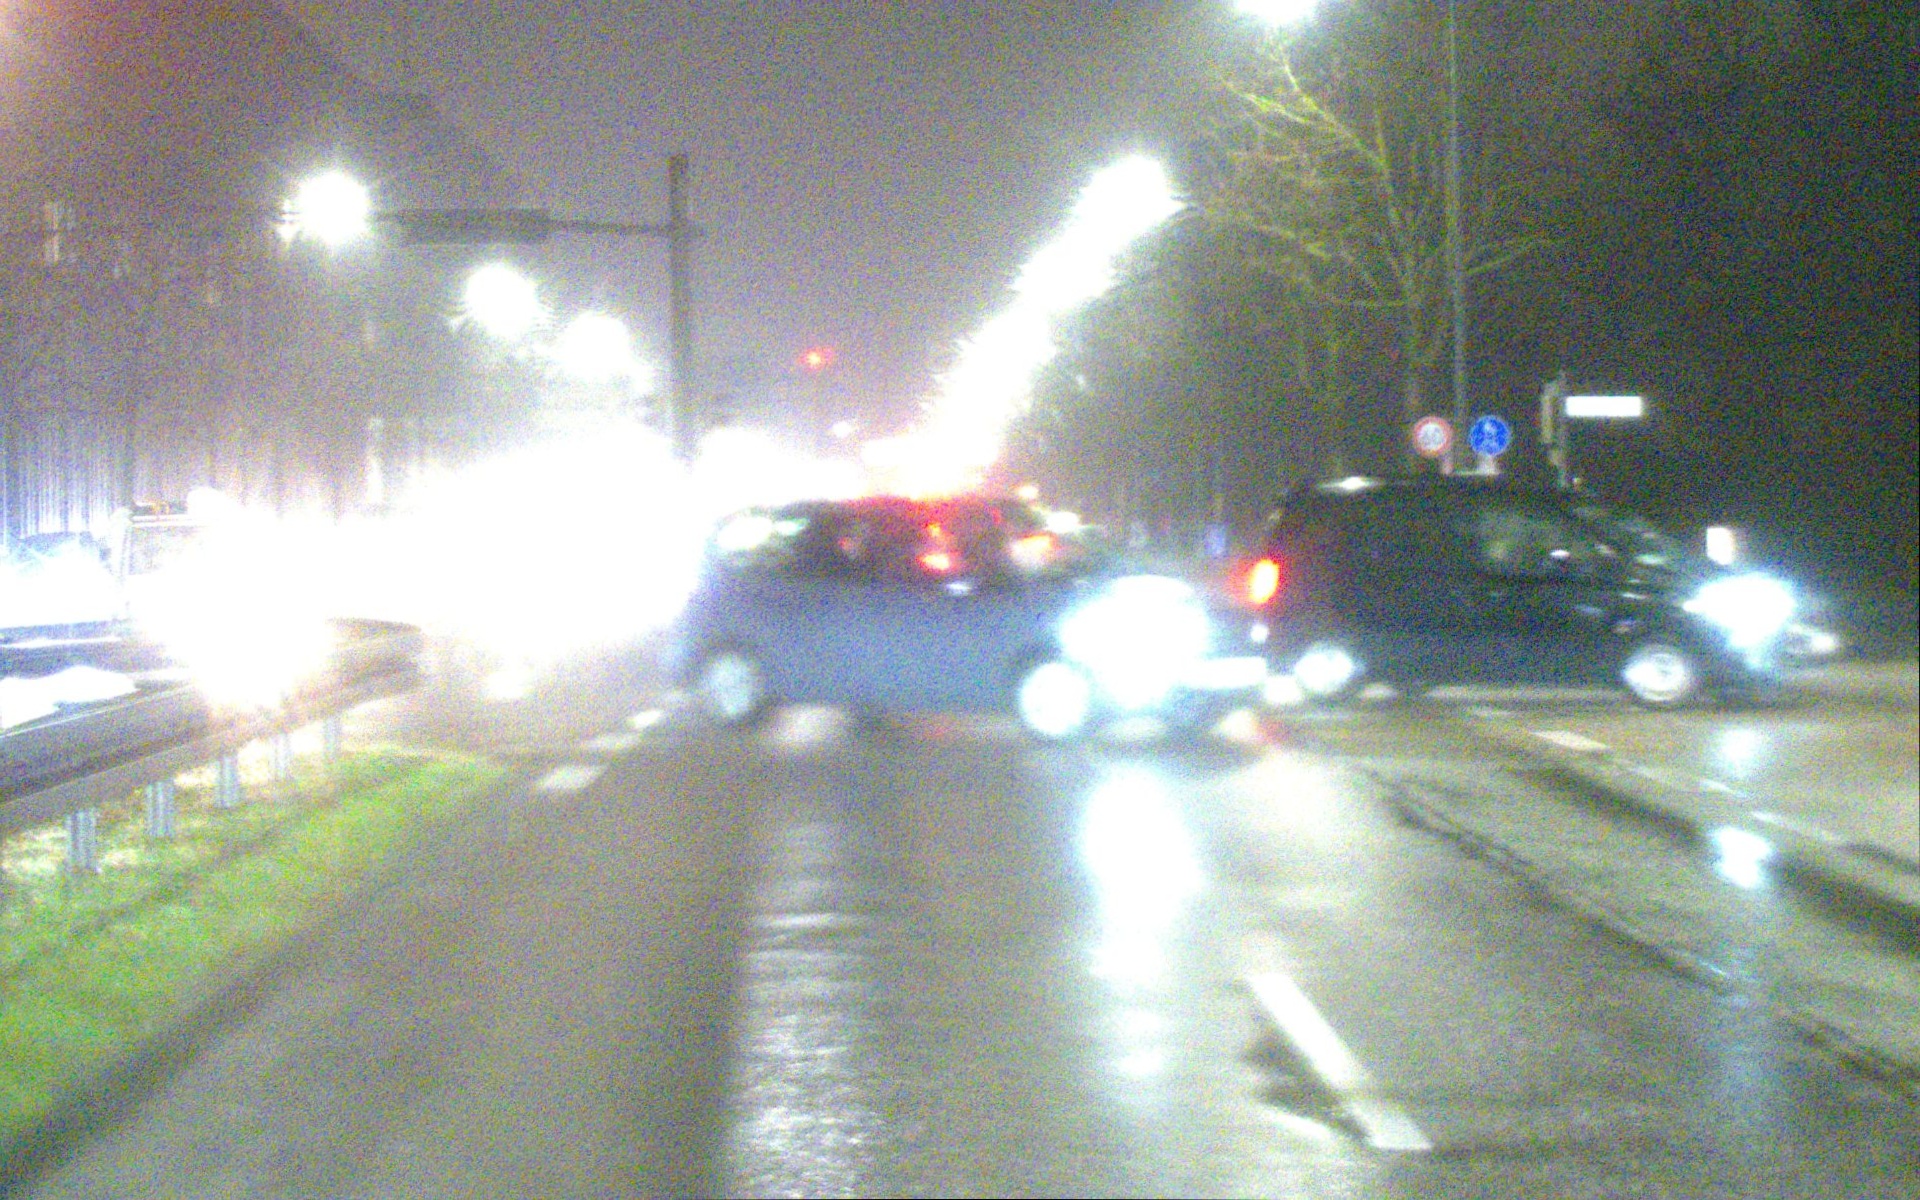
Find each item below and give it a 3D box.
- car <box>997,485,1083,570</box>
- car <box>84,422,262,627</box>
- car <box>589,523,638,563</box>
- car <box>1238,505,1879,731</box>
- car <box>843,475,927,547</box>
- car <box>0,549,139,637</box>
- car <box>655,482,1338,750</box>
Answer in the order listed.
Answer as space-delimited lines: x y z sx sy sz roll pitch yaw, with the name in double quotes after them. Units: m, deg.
1.945 -1.745 83.753 2.038 2.007 4.307 0 0 1 "car"
-8.089 -0.749 35.451 1.698 2.007 3.569 0 0 -12 "car"
-15.381 -2.509 152.934 1.749 1.703 4.499 -2 1 -1 "car"
4.592 0.112 26.511 4.506 1.612 1.905 0 0 28 "car"
-2.388 -2.773 108.365 2.441 2.186 5.079 0 0 -3 "car"
-15.439 -0.128 58.901 1.824 1.459 4.000 0 0 -1 "car"
0.191 0.082 23.580 4.412 1.667 1.954 0 0 38 "car"
